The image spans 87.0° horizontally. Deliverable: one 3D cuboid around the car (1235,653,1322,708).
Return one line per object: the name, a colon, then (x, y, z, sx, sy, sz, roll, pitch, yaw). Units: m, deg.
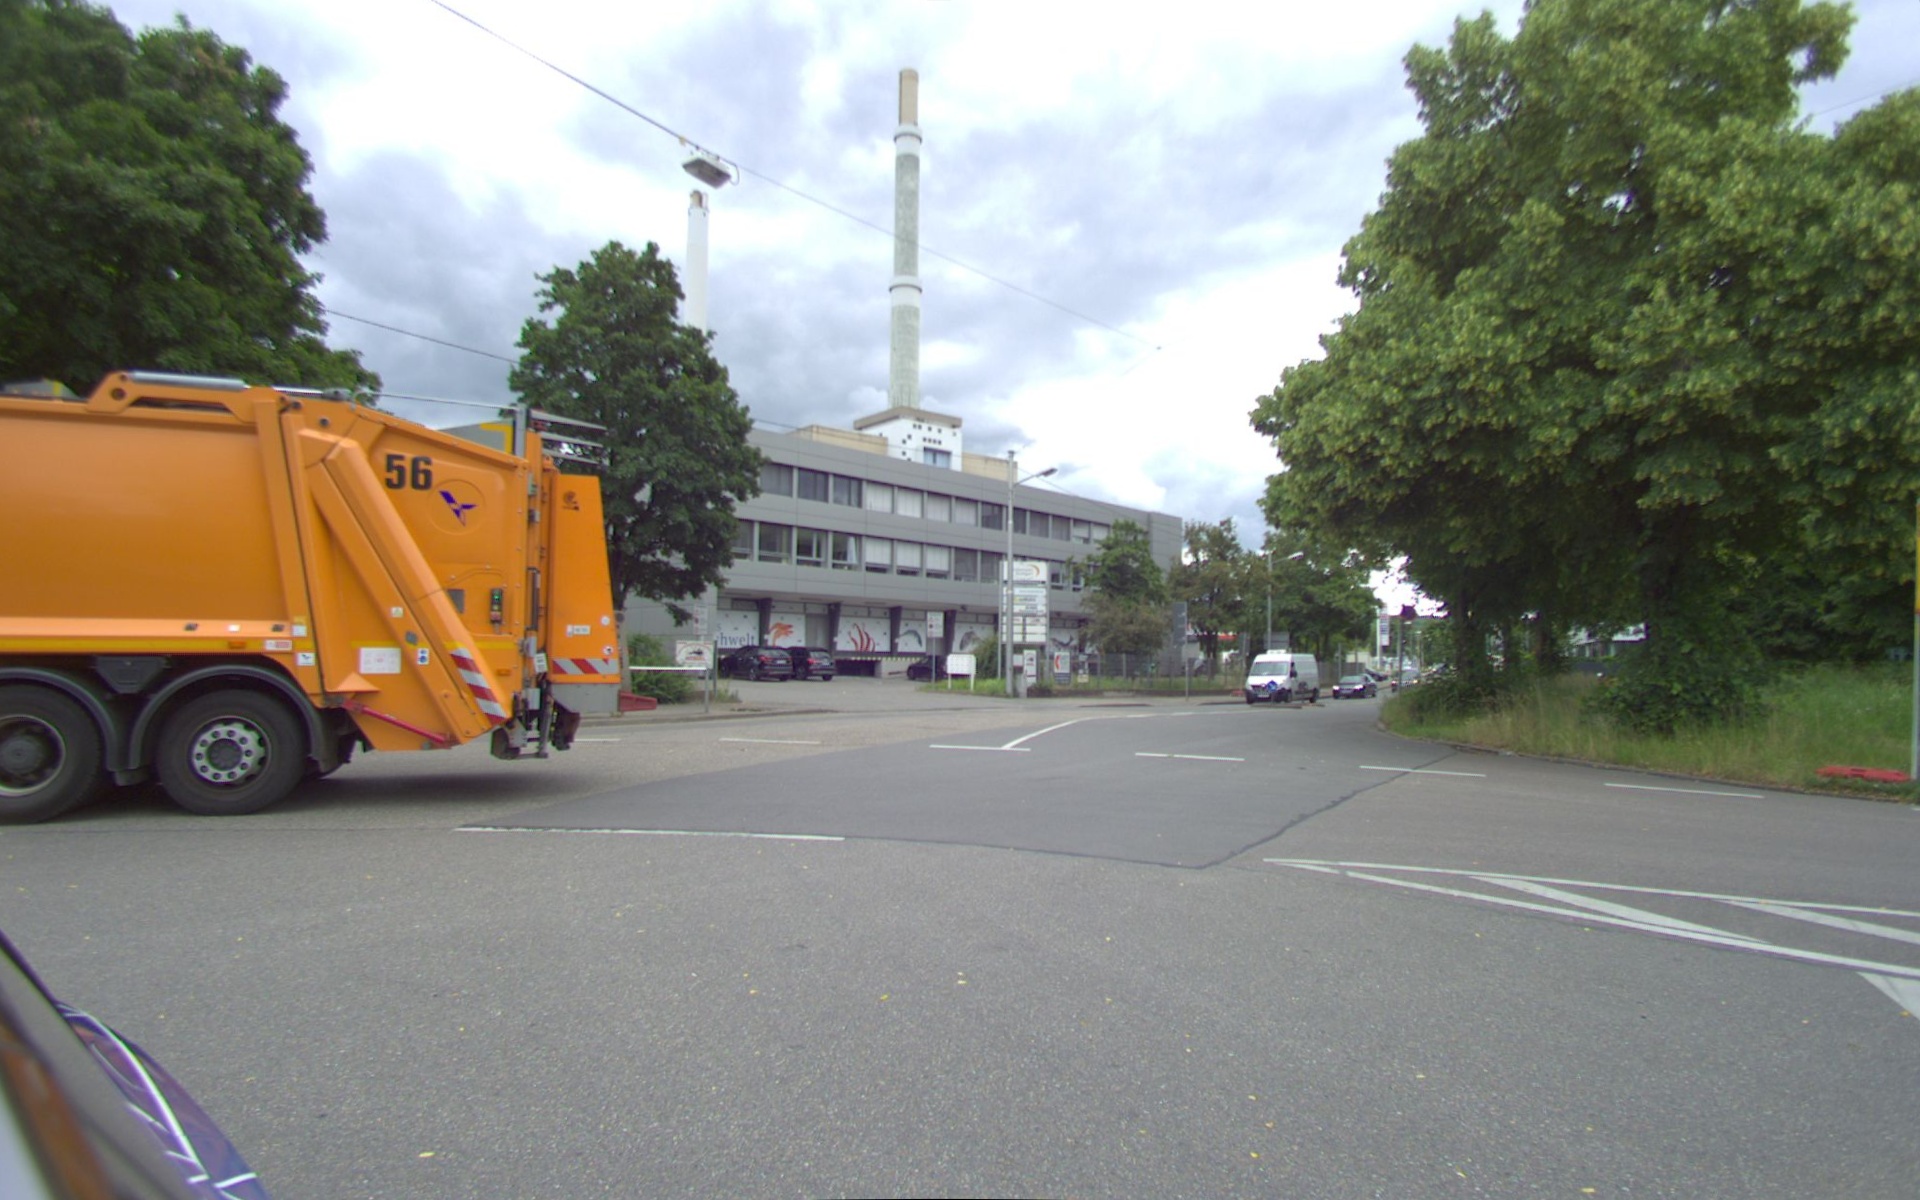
car: (15.437, 3.850, 48.781, 2.383, 2.478, 6.030, -3, -5, 33)

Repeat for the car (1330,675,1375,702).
car: (23.353, 5.227, 60.108, 1.858, 1.524, 4.396, -2, -4, 29)

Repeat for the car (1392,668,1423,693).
car: (31.150, 5.596, 70.517, 1.784, 1.653, 4.407, -1, -4, 22)

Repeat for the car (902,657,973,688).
car: (-1.291, 3.948, 55.476, 2.015, 1.456, 4.844, 2, -2, -27)

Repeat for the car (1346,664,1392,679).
car: (53.238, 9.347, 131.746, 5.435, 1.884, 2.009, -2, -4, 26)

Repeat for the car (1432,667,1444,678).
car: (76.793, 11.656, 162.609, 1.786, 1.653, 4.403, -2, -4, 25)

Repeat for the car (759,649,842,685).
car: (-8.070, 3.345, 50.961, 1.812, 1.630, 4.426, 4, -4, -45)

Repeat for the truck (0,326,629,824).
truck: (-8.147, -0.133, 8.199, 10.241, 3.554, 2.807, 0, -3, -21)

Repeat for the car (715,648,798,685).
car: (-9.871, 3.201, 48.866, 1.811, 1.630, 4.469, 4, -4, -44)
